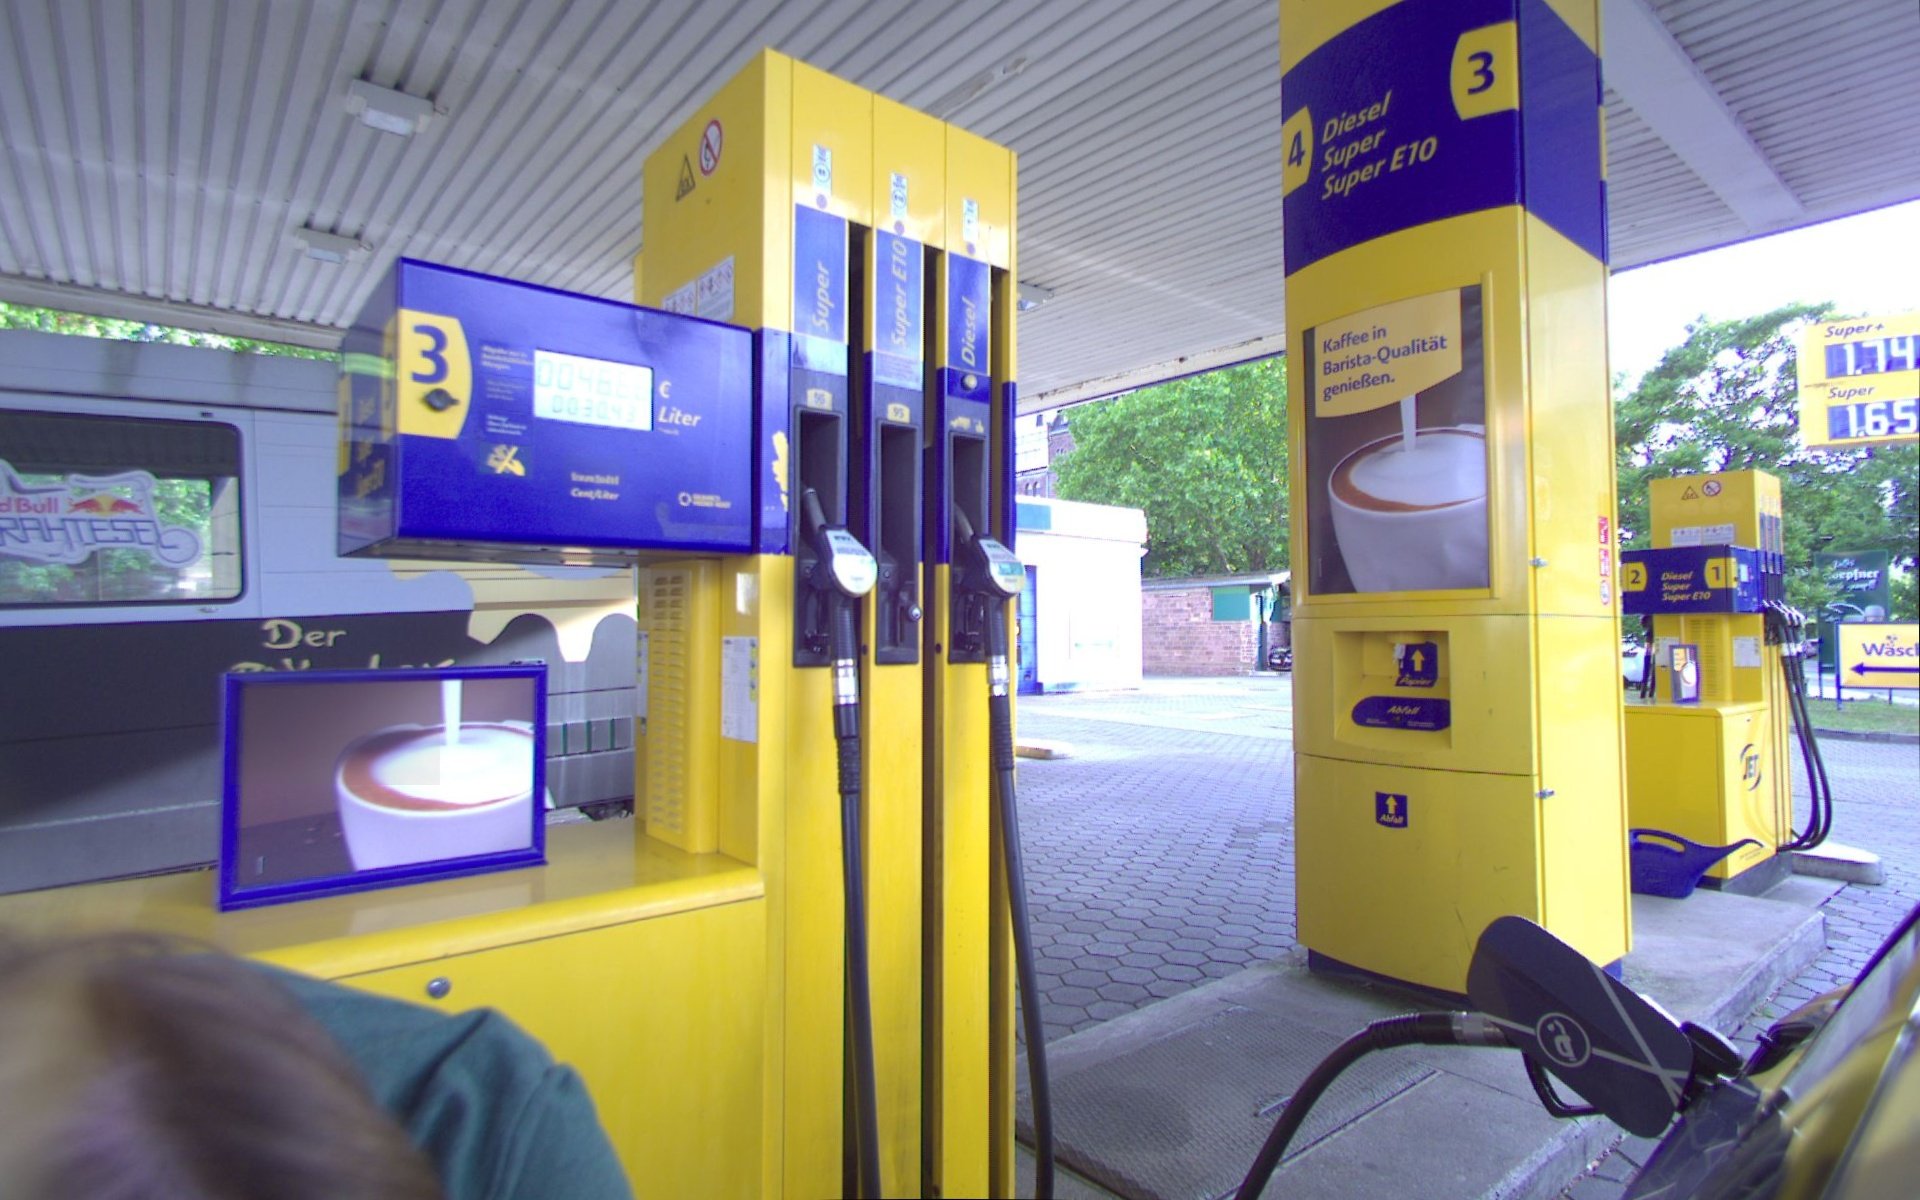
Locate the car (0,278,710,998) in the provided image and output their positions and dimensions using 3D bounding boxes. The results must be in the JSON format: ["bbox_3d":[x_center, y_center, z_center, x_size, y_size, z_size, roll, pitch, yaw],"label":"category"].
[{"bbox_3d":[-4.110,0.160,4.900,5.197,2.726,2.258,1,-2,-39],"label":"car"}]

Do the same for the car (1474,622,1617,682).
[{"bbox_3d":[17.847,1.584,30.807,4.303,1.622,1.776,4,-4,-28],"label":"car"}]

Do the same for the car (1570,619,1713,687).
[{"bbox_3d":[18.356,1.442,27.208,4.308,1.622,1.774,4,-4,-35],"label":"car"}]

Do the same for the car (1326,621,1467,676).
[{"bbox_3d":[13.887,1.525,32.143,4.303,1.622,1.777,2,-1,-28],"label":"car"}]

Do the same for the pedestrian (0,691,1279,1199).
[{"bbox_3d":[-0.335,0.749,0.553,0.662,1.298,0.751,0,0,-41],"label":"pedestrian"}]

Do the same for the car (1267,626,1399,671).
[{"bbox_3d":[12.691,1.648,34.434,4.303,1.393,1.777,2,-1,-28],"label":"car"}]
